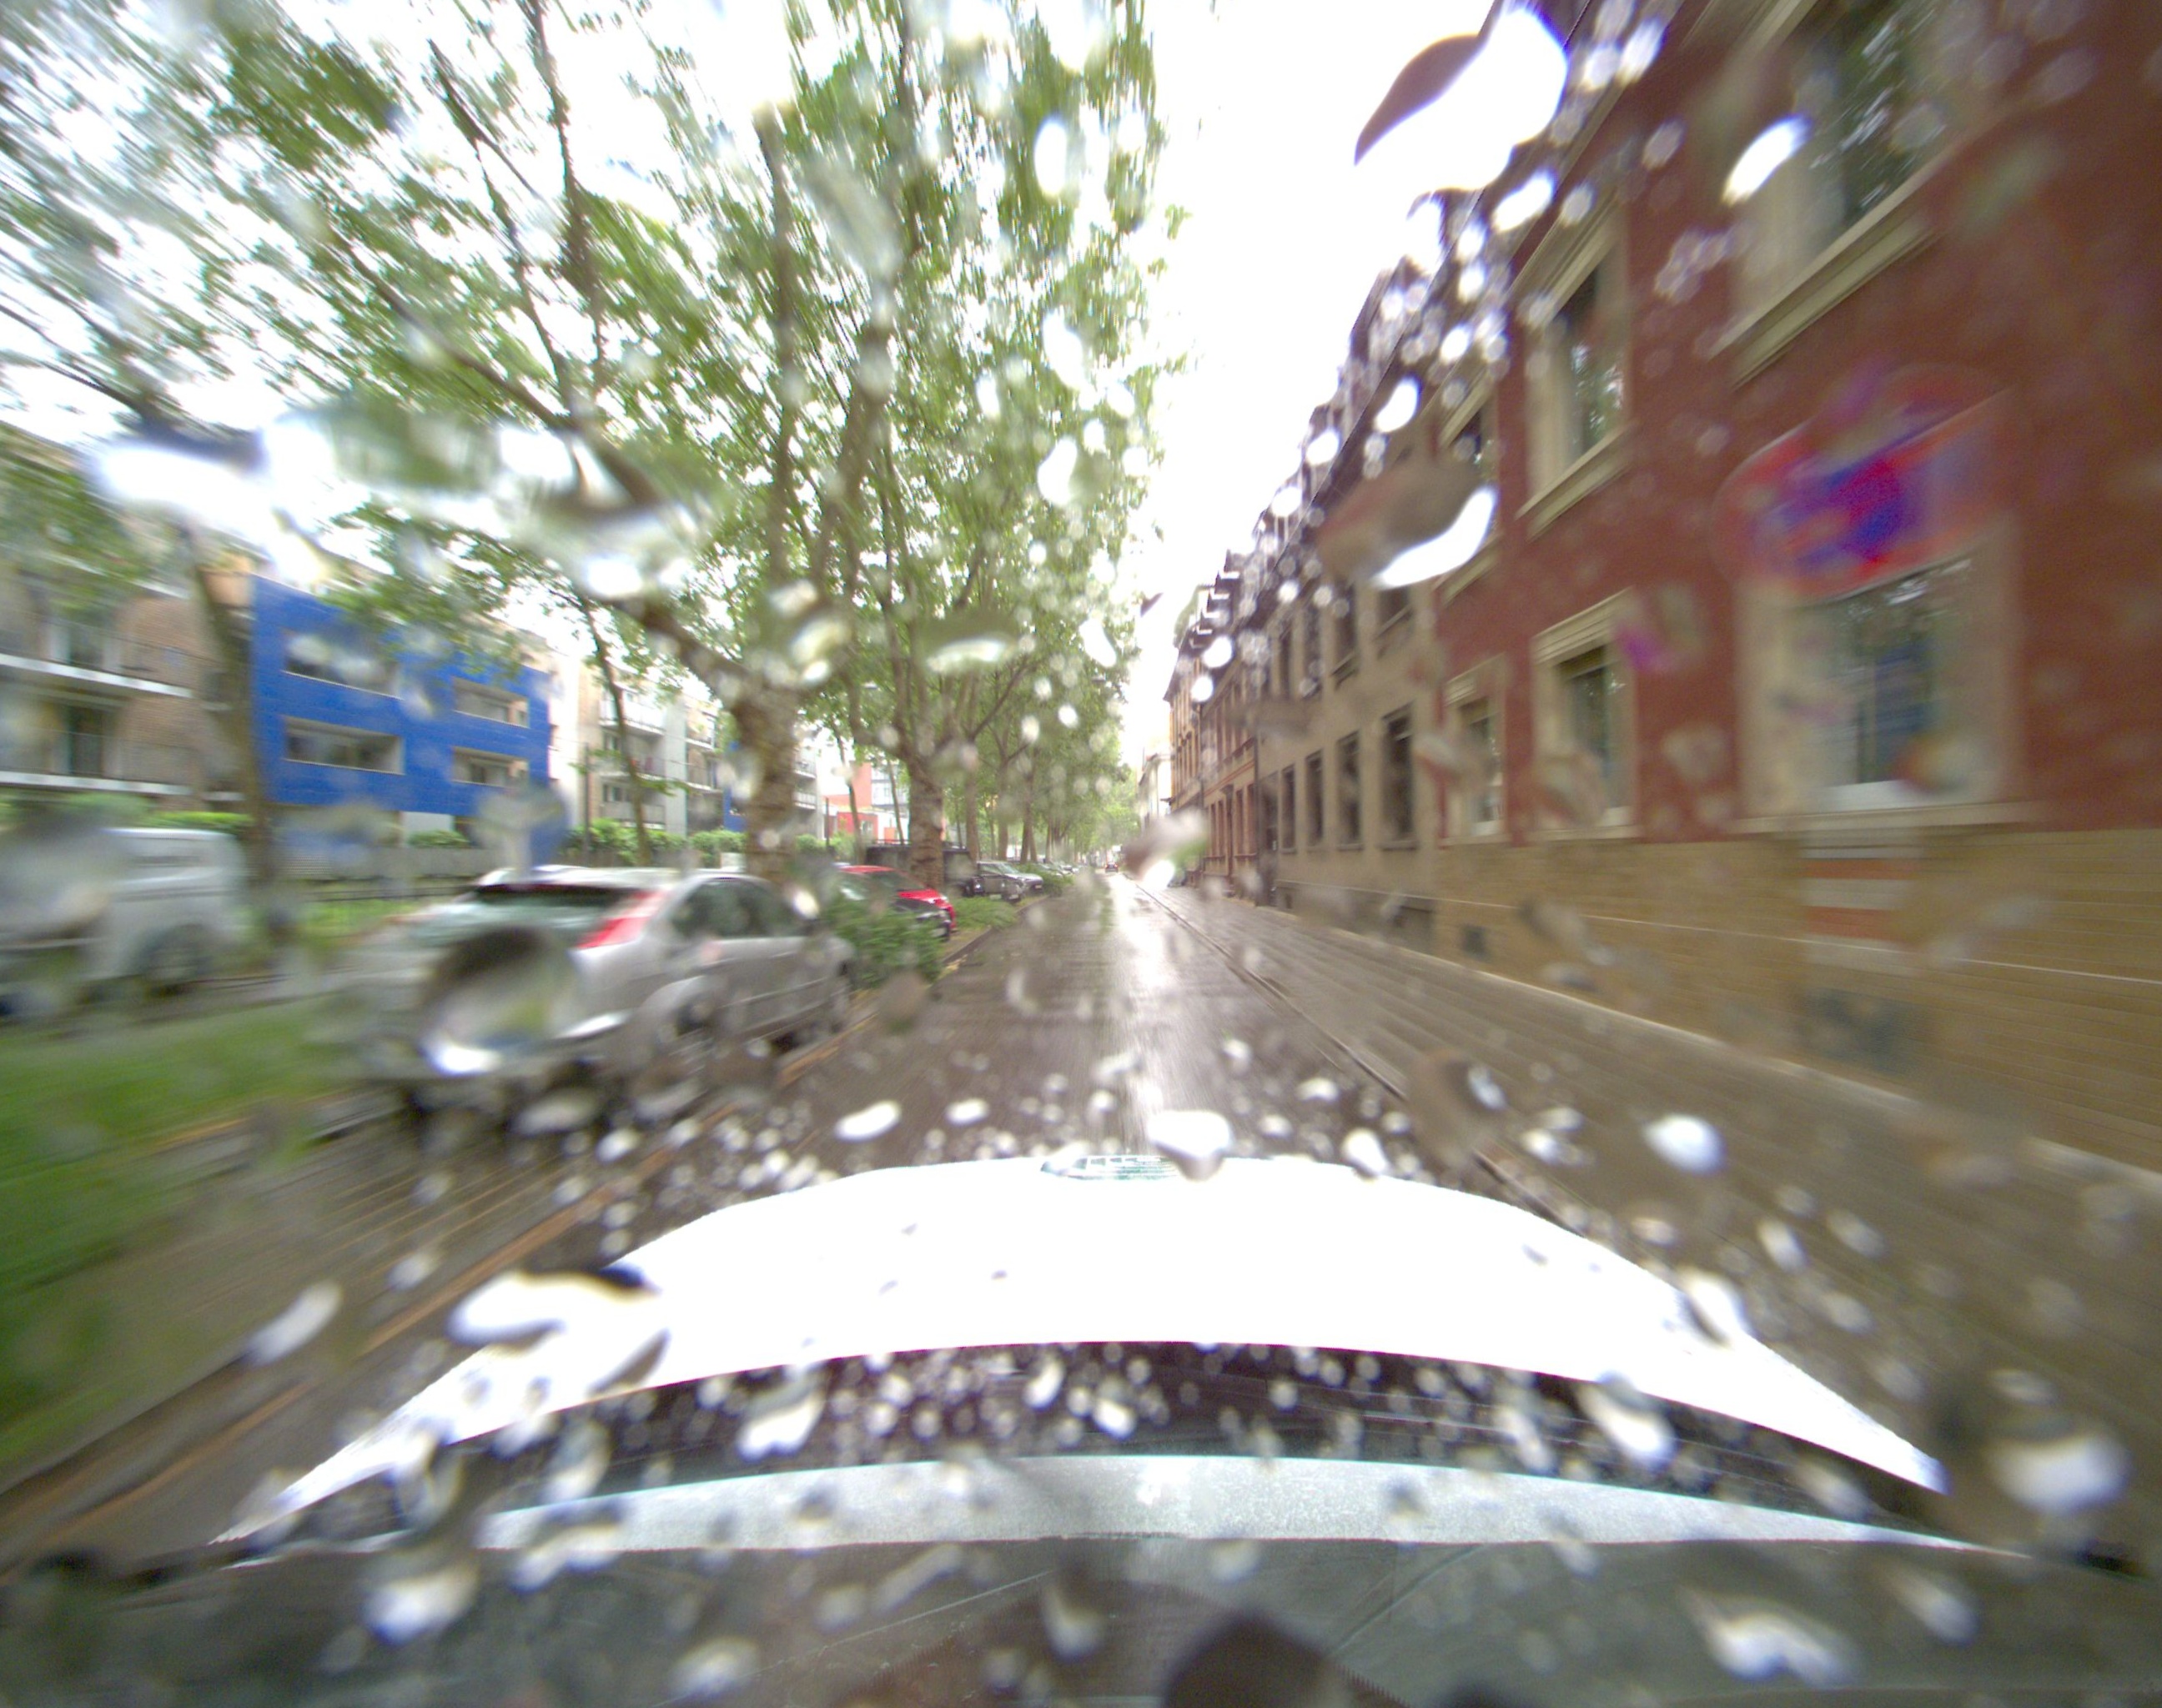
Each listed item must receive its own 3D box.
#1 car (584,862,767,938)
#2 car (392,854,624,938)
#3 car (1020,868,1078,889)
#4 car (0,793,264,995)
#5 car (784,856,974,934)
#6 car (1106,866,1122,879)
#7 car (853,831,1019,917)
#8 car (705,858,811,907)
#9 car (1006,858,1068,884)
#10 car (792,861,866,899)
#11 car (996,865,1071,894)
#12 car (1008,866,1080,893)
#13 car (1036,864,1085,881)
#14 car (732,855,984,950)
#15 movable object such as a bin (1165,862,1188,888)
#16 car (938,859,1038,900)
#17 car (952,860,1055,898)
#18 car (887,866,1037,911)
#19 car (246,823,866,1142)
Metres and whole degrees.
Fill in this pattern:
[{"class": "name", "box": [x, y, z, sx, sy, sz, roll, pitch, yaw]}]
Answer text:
[{"class": "car", "box": [-8.387, 0.893, 17.293, 1.827, 1.420, 4.000, 0, -1, 0]}, {"class": "car", "box": [-11.836, 0.794, 17.252, 1.898, 1.534, 4.215, -1, -1, 0]}, {"class": "car", "box": [-2.438, 1.872, 61.962, 4.019, 1.499, 1.757, -1, 0, 25]}, {"class": "car", "box": [-11.719, 0.383, 7.955, 2.048, 1.997, 5.430, 1, -1, -2]}, {"class": "car", "box": [-4.161, 0.813, 16.744, 3.458, 1.436, 1.792, -2, -1, 29]}, {"class": "car", "box": [4.422, 2.465, 109.869, 1.986, 1.640, 4.001, 0, -1, 1]}, {"class": "car", "box": [-4.254, 0.597, 23.676, 4.599, 2.283, 2.025, -2, -1, 35]}, {"class": "car", "box": [-11.167, 0.943, 28.479, 1.898, 1.534, 4.420, -1, -1, 0]}, {"class": "car", "box": [-3.874, 1.496, 71.471, 5.065, 1.977, 2.116, -3, -1, 32]}, {"class": "car", "box": [-11.069, 1.113, 36.097, 1.898, 1.534, 4.215, -1, -1, 0]}, {"class": "car", "box": [-3.005, 1.611, 51.306, 4.360, 1.645, 1.884, -4, -2, 33]}, {"class": "car", "box": [-2.443, 1.667, 53.680, 4.361, 1.660, 1.942, -2, -1, 29]}, {"class": "car", "box": [-2.052, 1.873, 80.616, 4.502, 1.482, 1.786, -3, -1, 32]}, {"class": "car", "box": [-3.888, 0.810, 14.159, 3.996, 1.435, 1.792, -2, -1, 26]}, {"class": "movable object such as a bin", "box": [5.121, 1.138, 43.926, 1.017, 1.301, 1.367, -5, 0, 1]}, {"class": "car", "box": [-3.647, 1.002, 32.036, 3.469, 1.468, 1.651, -2, -1, 23]}, {"class": "car", "box": [-3.315, 1.037, 34.660, 4.013, 1.537, 1.847, -1, 0, 32]}, {"class": "car", "box": [-3.899, 1.115, 26.457, 4.601, 1.326, 1.858, -2, -1, 29]}, {"class": "car", "box": [-3.068, 0.628, 6.000, 1.723, 1.514, 4.209, 0, -1, 2]}]
